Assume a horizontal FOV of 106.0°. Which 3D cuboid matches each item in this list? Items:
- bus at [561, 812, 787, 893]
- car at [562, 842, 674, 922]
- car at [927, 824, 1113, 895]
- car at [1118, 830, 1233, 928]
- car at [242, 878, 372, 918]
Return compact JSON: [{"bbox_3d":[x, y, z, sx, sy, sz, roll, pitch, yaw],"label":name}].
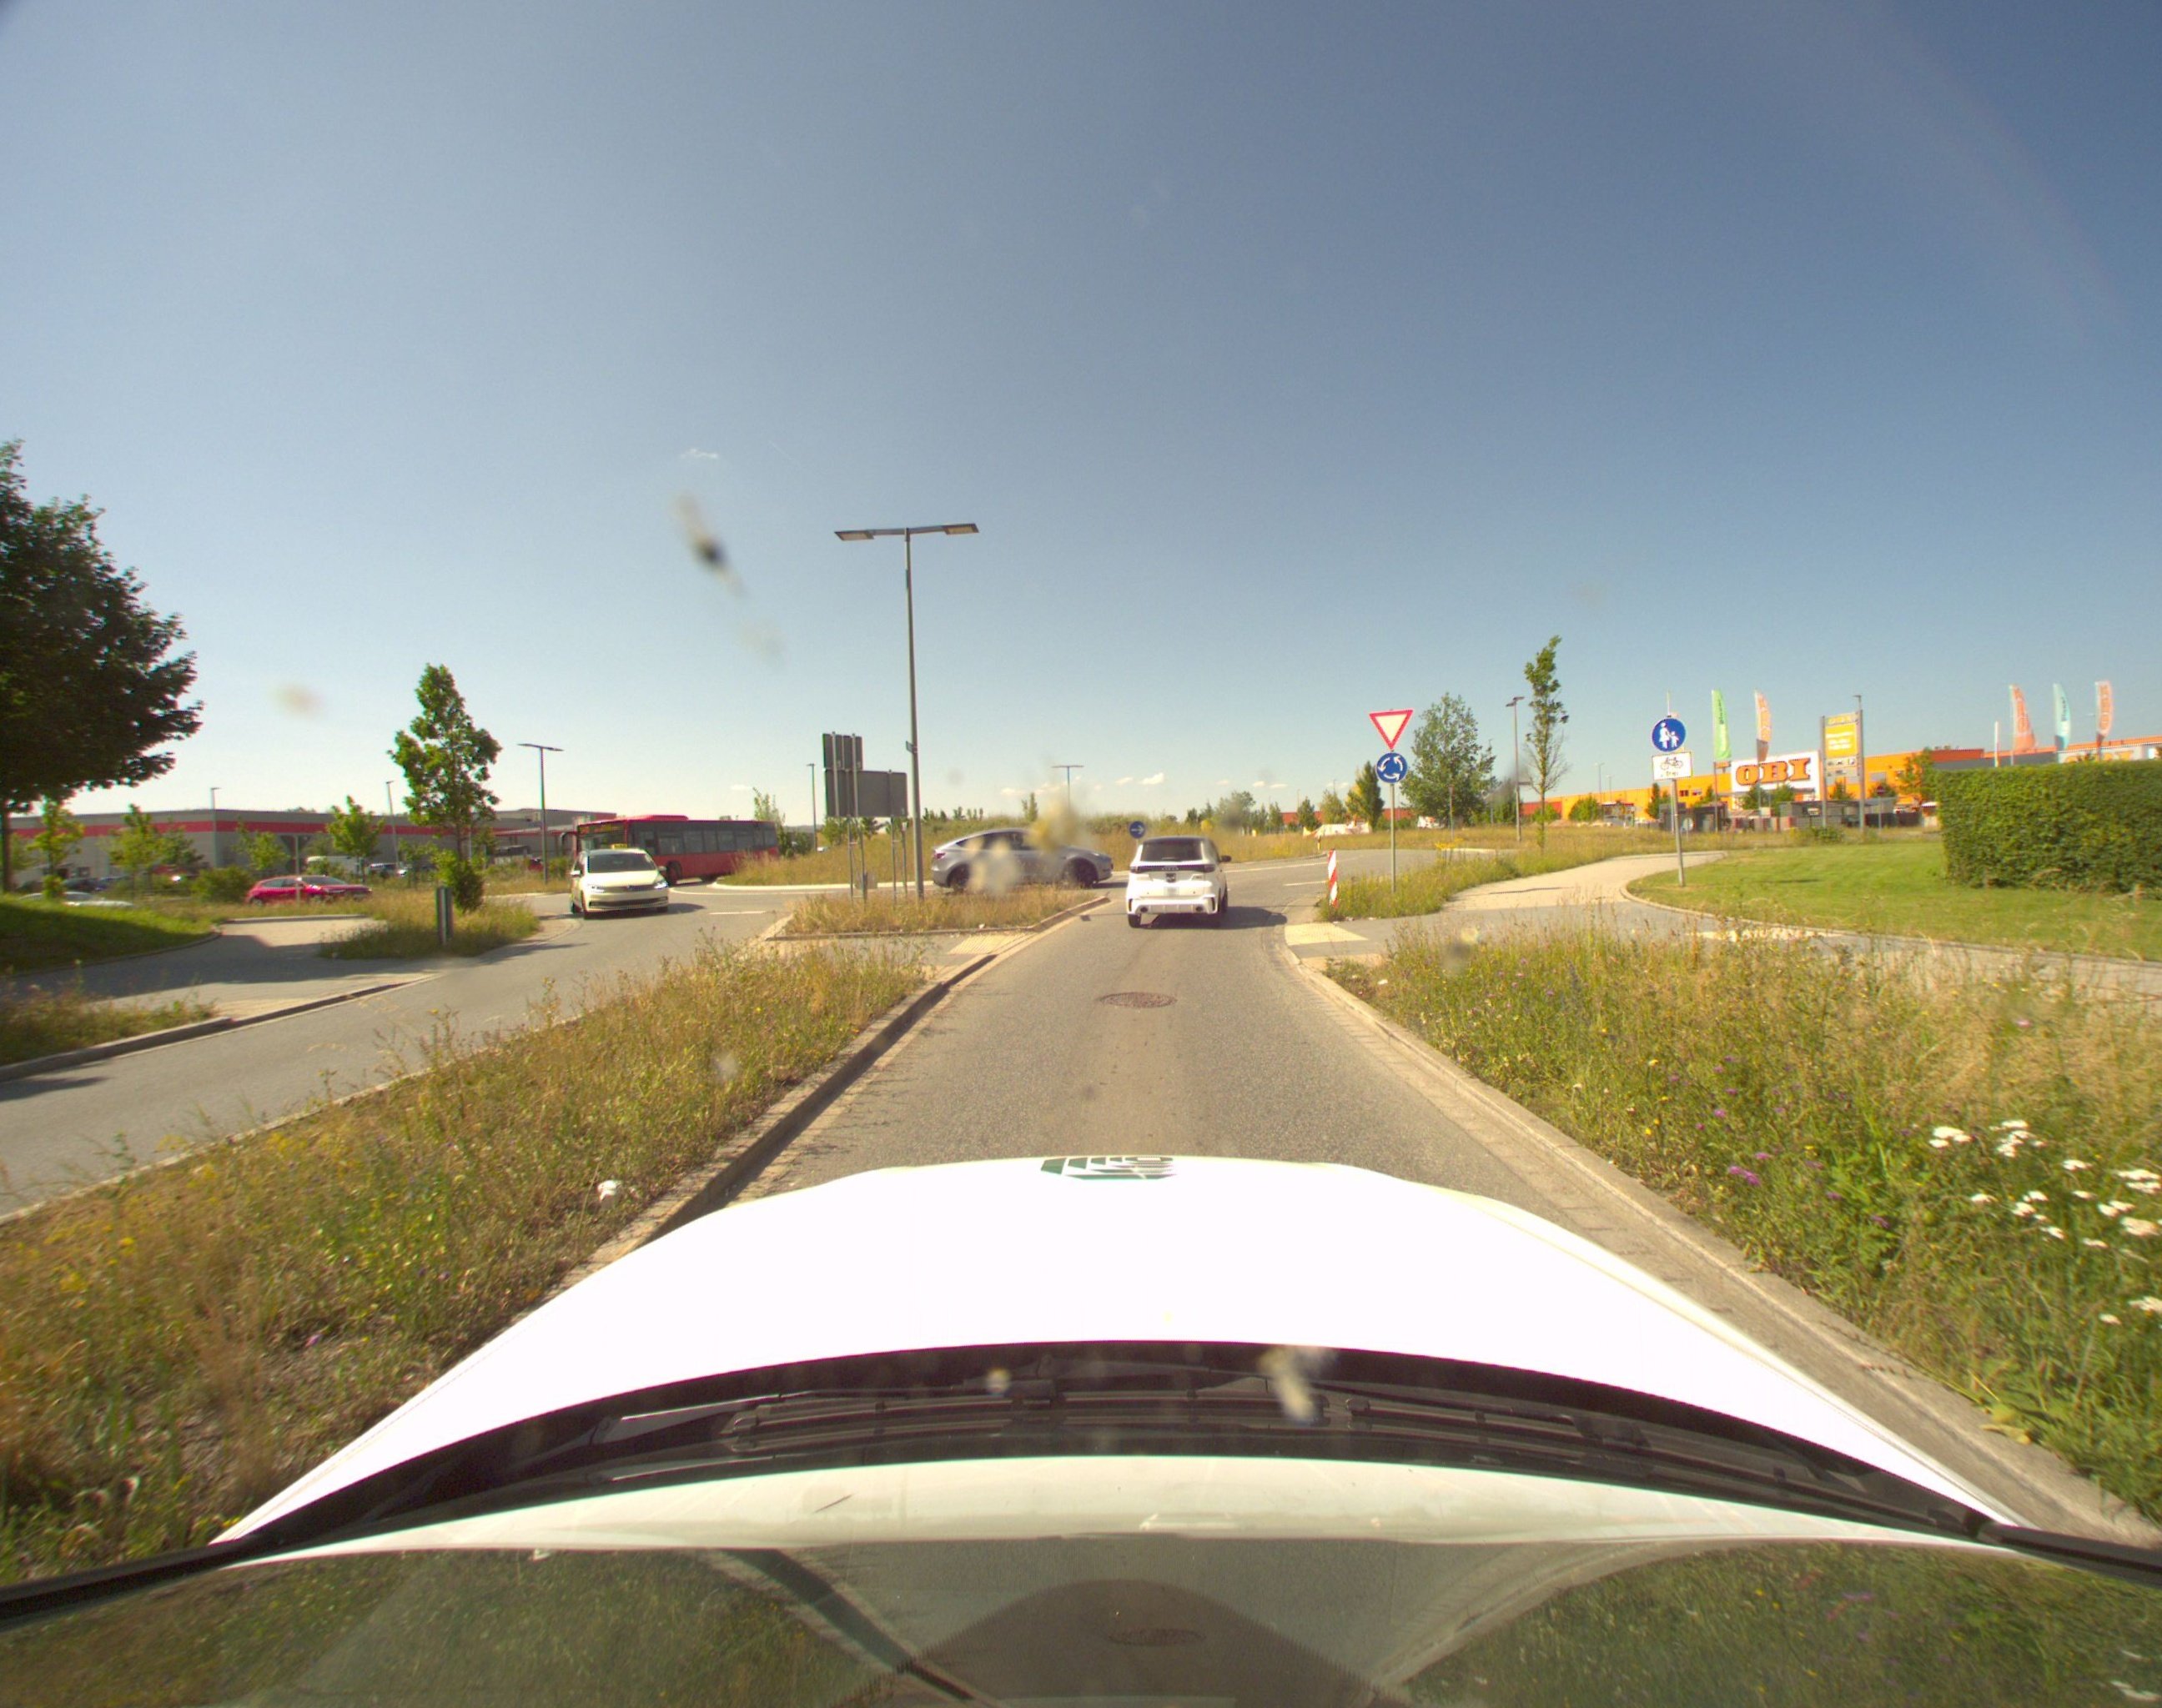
[{"bbox_3d":[-18.455,-0.284,38.547,2.770,3.078,12.236,-3,2,9],"label":"bus"},{"bbox_3d":[-11.794,0.667,20.578,1.856,1.665,4.539,-5,2,-36],"label":"car"},{"bbox_3d":[-1.507,0.103,21.273,4.594,1.626,1.964,-2,2,0],"label":"car"},{"bbox_3d":[1.817,0.349,14.638,1.605,1.434,3.807,-2,2,13],"label":"car"},{"bbox_3d":[-31.142,1.746,32.809,3.965,1.387,1.576,-2,0,7],"label":"car"}]
